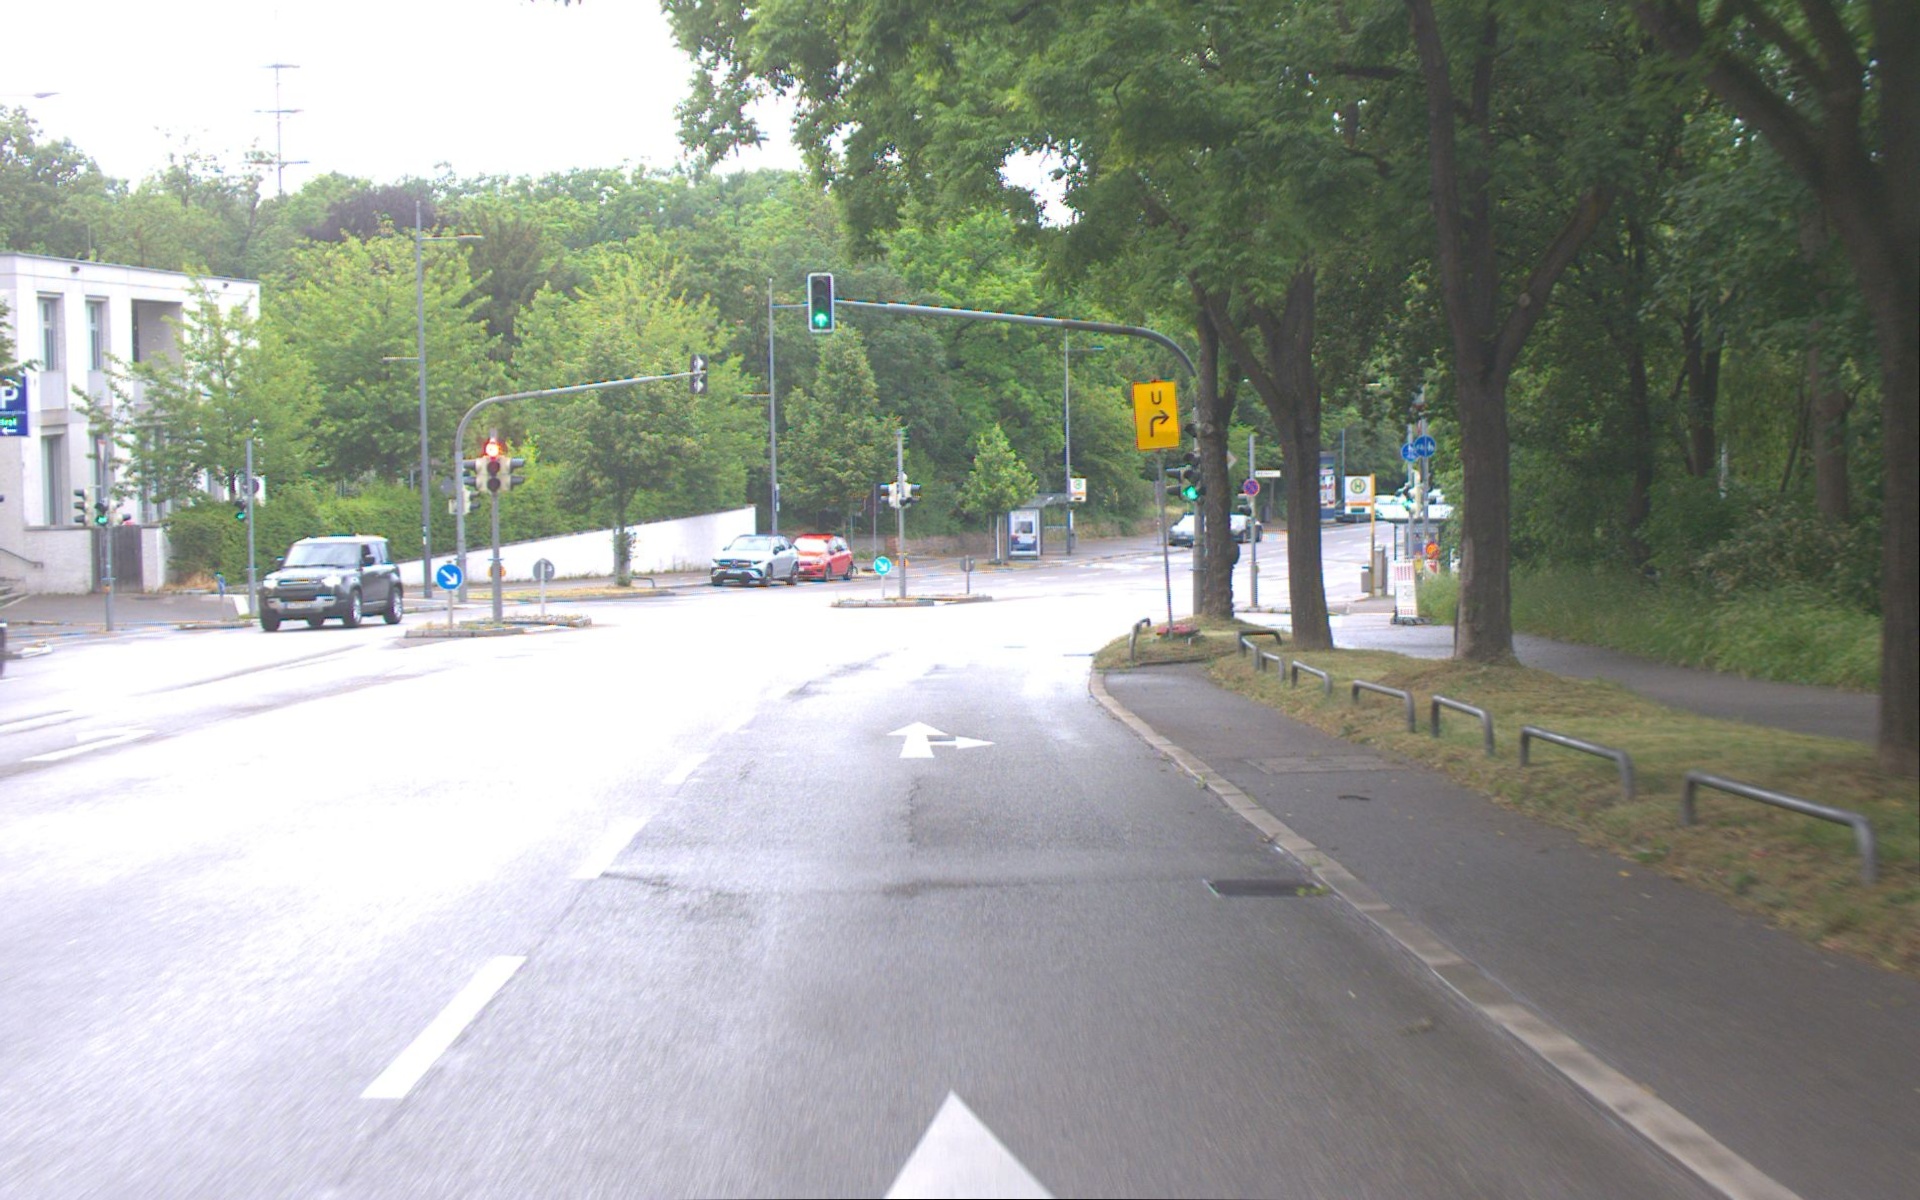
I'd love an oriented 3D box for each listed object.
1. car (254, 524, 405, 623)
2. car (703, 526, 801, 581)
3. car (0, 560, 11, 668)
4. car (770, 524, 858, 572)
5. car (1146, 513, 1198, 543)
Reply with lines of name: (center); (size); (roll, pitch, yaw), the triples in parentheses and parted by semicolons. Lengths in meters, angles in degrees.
car: (-13.085, -0.576, 71.650); (1.921, 1.851, 4.506); (-4, 1, 4)
car: (-6.756, -1.534, 111.935); (1.854, 1.634, 4.091); (3, 2, 16)
car: (-13.061, 0.240, 42.053); (1.770, 1.376, 4.191); (-2, 1, -1)
car: (-5.035, -1.832, 119.320); (1.876, 1.569, 4.220); (2, 2, 14)
car: (10.584, -3.556, 171.163); (1.714, 1.455, 3.747); (1, 1, 18)
